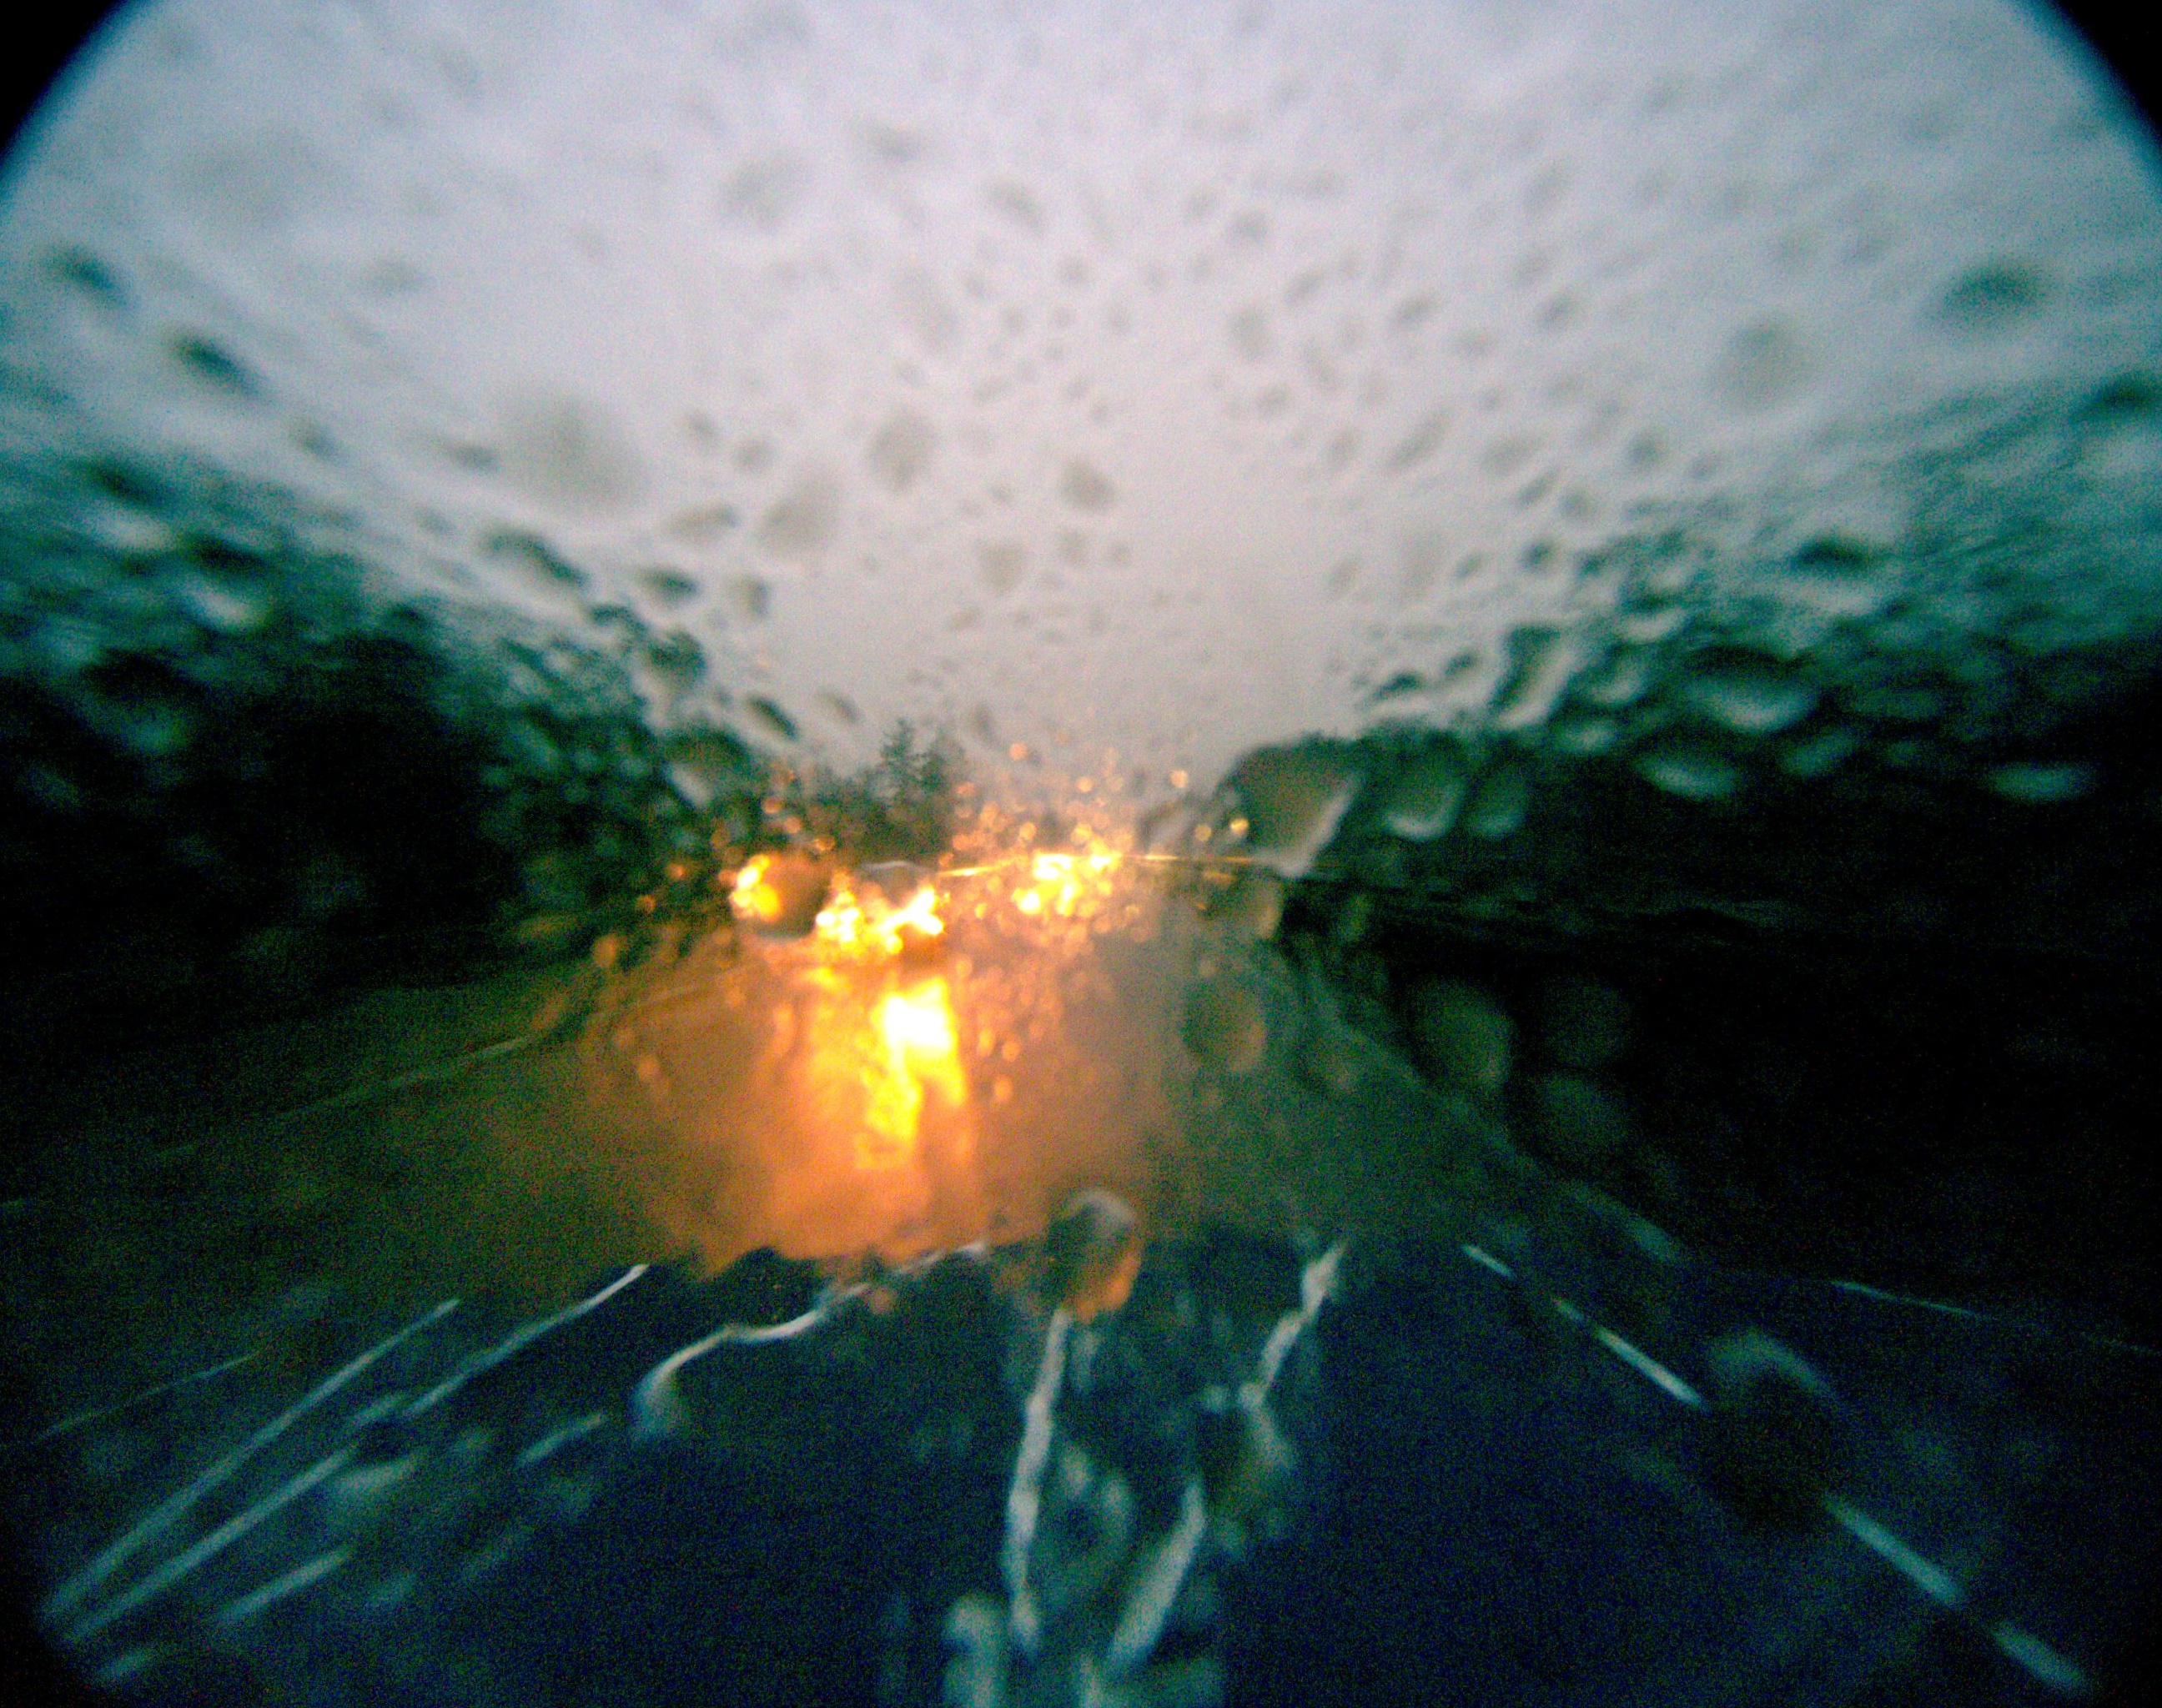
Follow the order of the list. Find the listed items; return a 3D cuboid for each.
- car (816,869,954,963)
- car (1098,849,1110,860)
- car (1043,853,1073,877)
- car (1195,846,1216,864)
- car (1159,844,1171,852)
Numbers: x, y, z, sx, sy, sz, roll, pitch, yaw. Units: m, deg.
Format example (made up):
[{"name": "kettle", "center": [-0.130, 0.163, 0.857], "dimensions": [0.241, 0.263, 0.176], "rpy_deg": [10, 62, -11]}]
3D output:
[{"name": "car", "center": [-3.346, 1.008, 13.565], "dimensions": [1.603, 1.358, 3.304], "rpy_deg": [-1, 1, 0]}, {"name": "car", "center": [3.549, 0.056, 119.214], "dimensions": [1.690, 1.718, 3.786], "rpy_deg": [-2, 1, 0]}, {"name": "car", "center": [-1.557, 0.710, 52.108], "dimensions": [1.741, 1.441, 4.000], "rpy_deg": [-2, 1, 2]}, {"name": "car", "center": [13.723, 0.051, 83.858], "dimensions": [1.682, 1.871, 4.000], "rpy_deg": [-2, 0, 1]}, {"name": "car", "center": [15.819, -1.175, 143.425], "dimensions": [1.757, 1.476, 4.721], "rpy_deg": [-2, 1, 2]}]
